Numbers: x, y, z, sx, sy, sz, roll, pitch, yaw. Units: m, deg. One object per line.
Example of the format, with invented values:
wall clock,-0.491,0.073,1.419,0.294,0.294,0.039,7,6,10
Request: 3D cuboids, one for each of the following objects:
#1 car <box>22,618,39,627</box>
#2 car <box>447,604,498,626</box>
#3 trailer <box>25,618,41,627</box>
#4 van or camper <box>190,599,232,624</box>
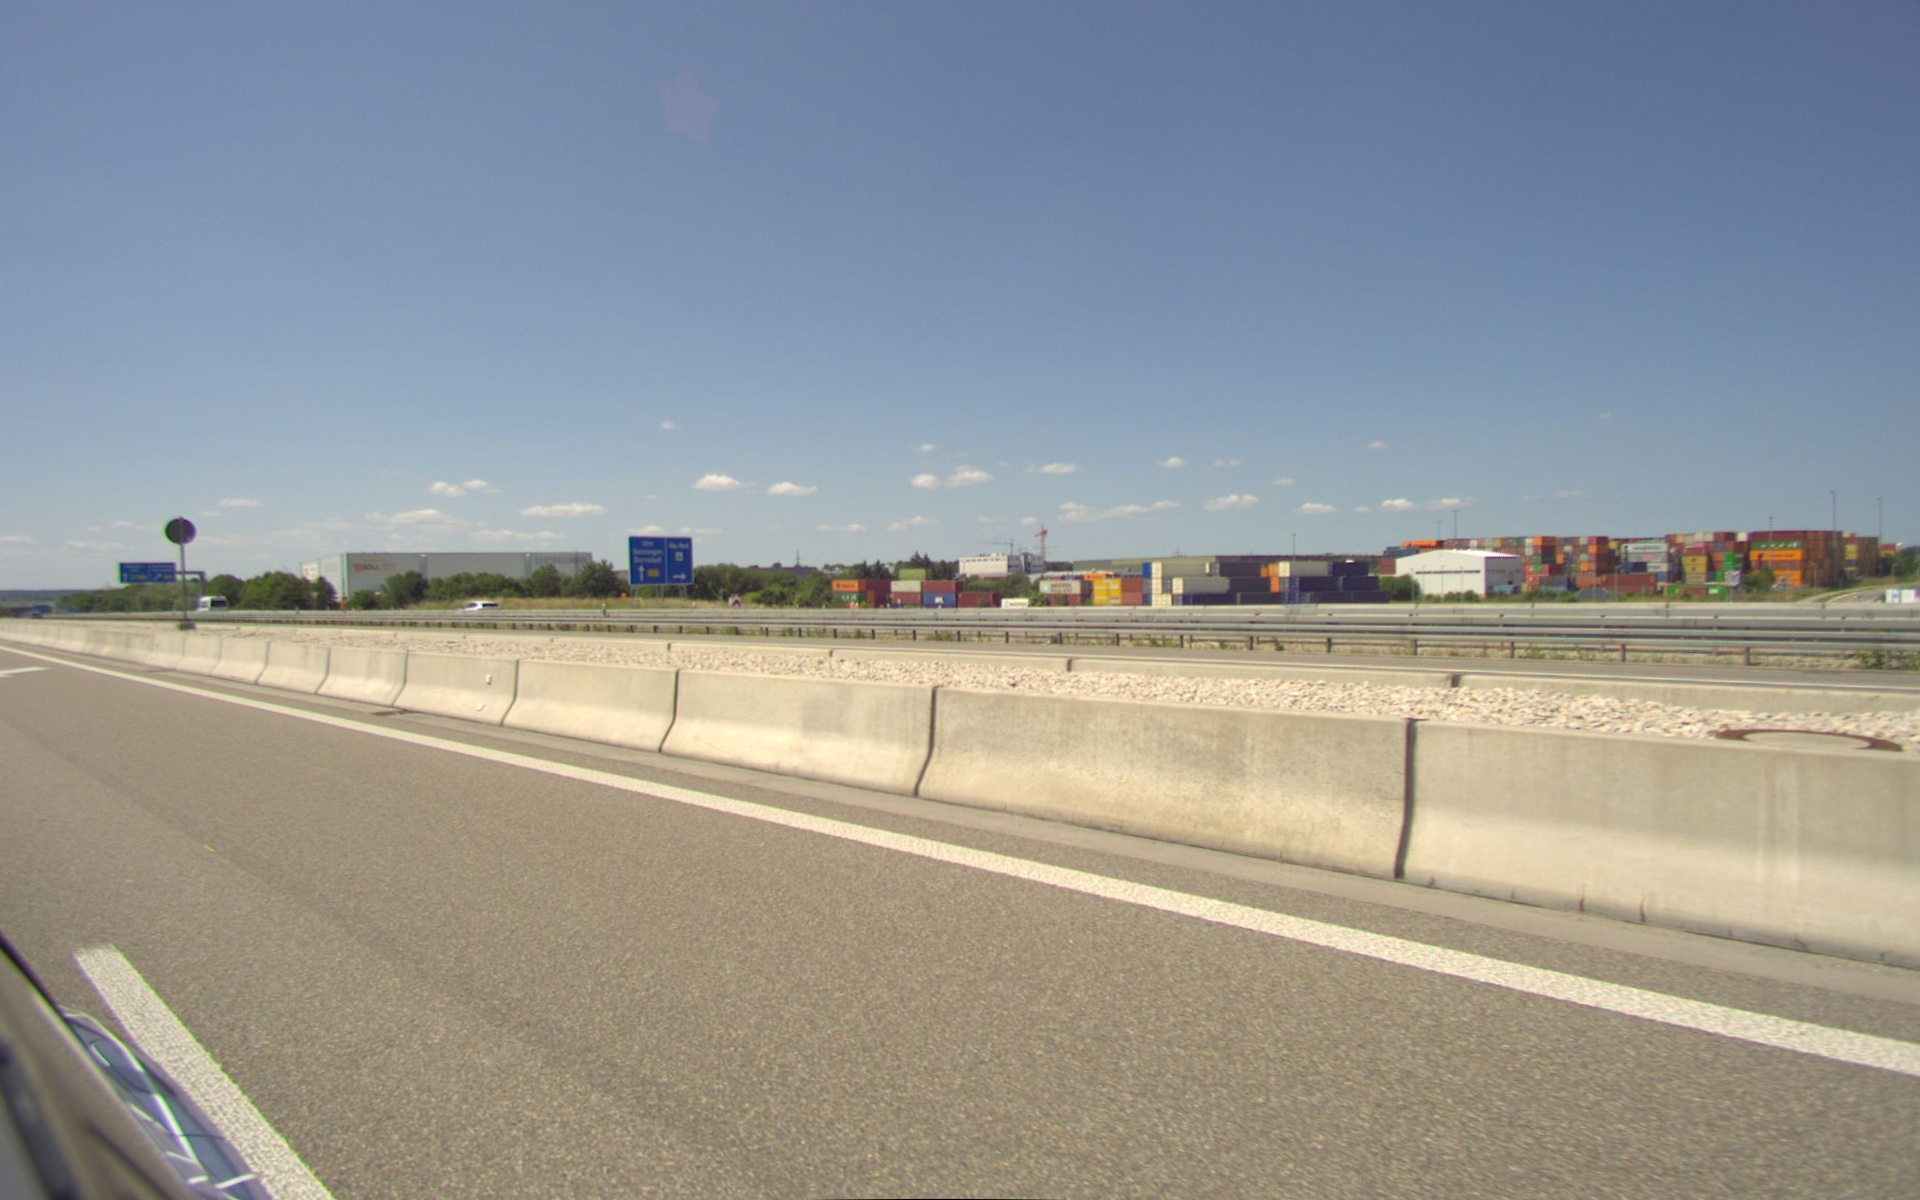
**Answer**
car,-158.863,3.845,173.001,4.000,1.561,1.773,-1,0,43
car,-32.427,0.967,67.231,4.361,1.390,1.547,-1,0,42
trailer,-156.057,3.830,170.375,3.683,1.446,1.736,-1,-1,43
van or camper,-89.058,1.372,120.227,7.539,2.843,2.519,-1,0,42
